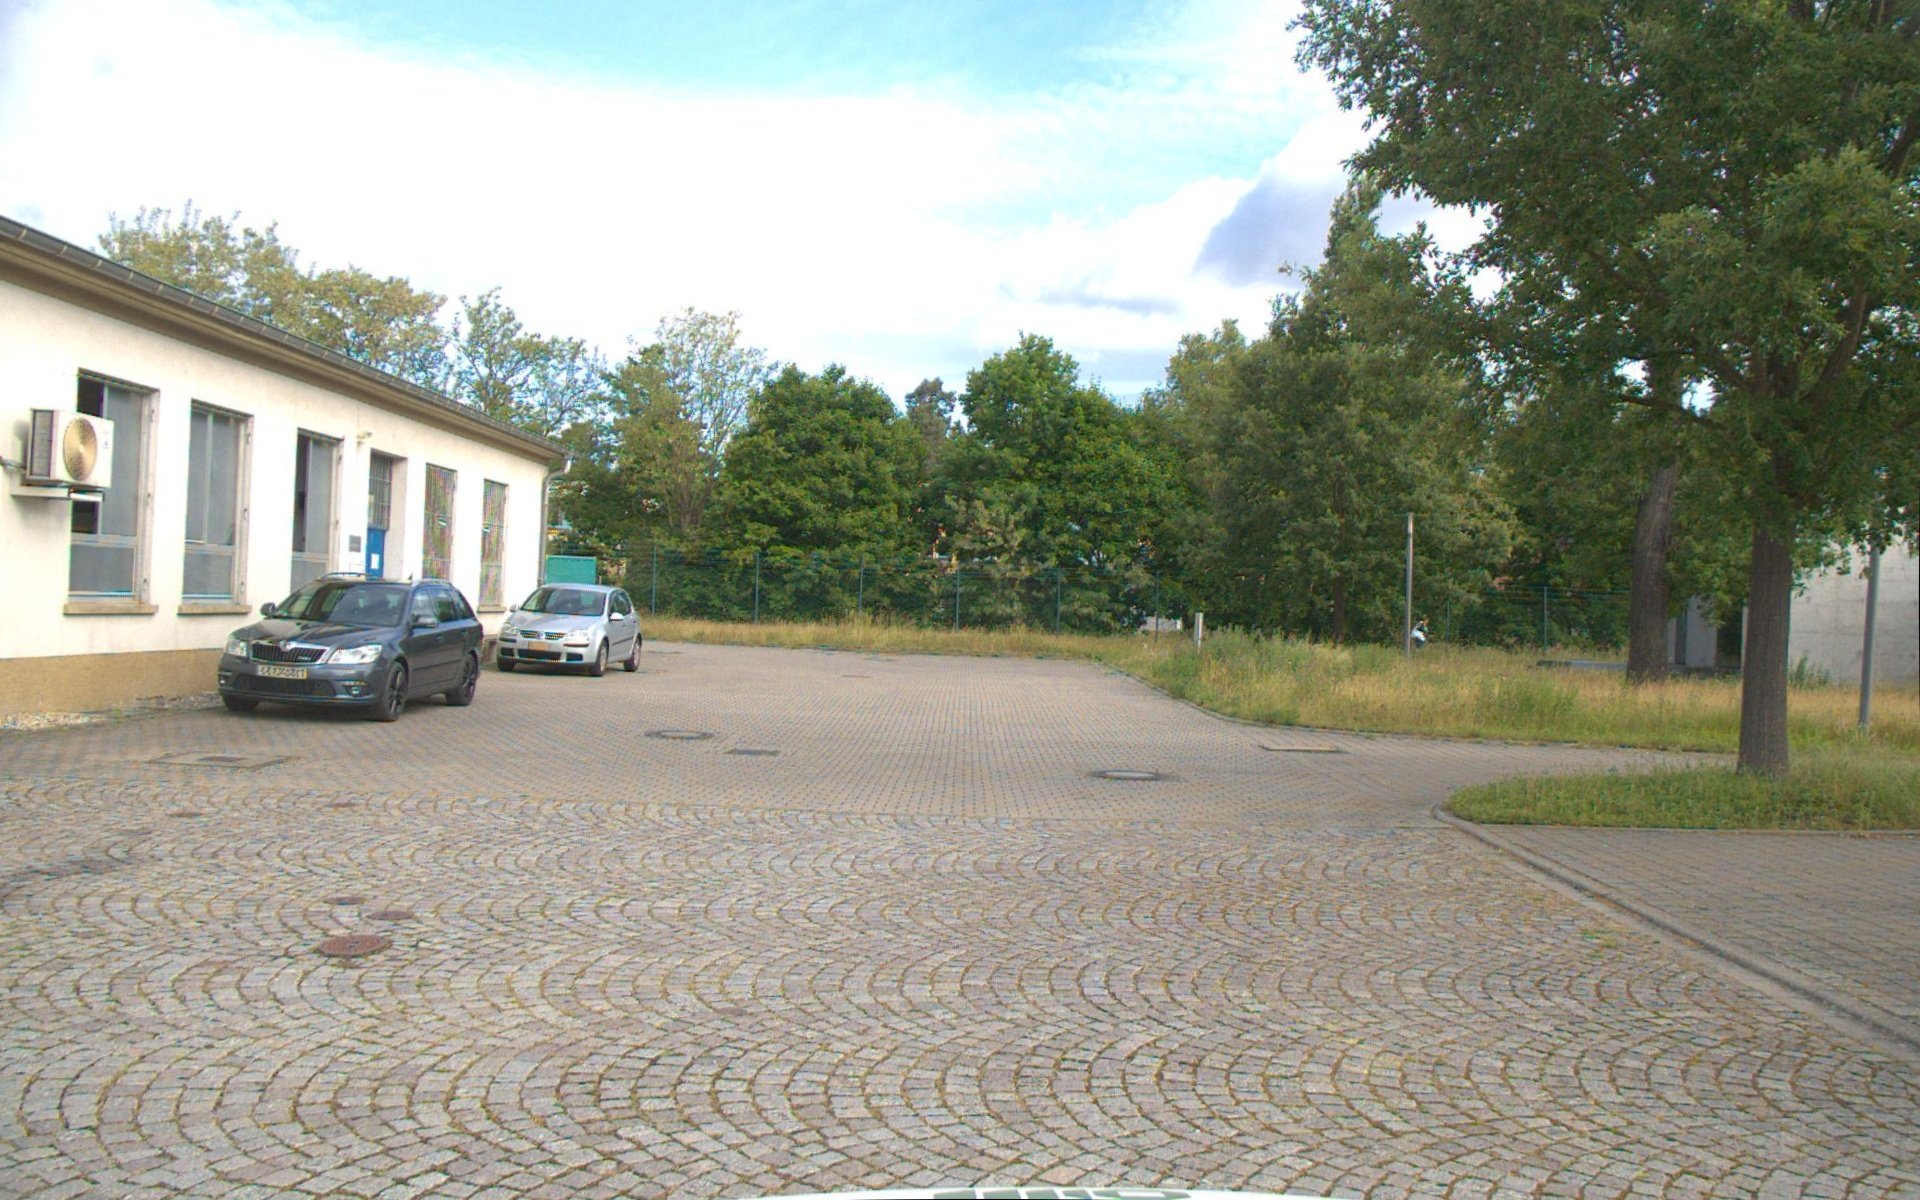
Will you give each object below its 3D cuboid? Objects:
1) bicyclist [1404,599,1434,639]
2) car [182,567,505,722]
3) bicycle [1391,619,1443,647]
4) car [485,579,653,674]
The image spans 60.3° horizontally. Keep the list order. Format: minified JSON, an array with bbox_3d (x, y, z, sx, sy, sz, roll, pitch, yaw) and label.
[{"bbox_3d":[14.665,0.610,52.855,0.754,1.227,0.588,2,0,0],"label":"bicyclist"},{"bbox_3d":[-6.743,0.438,18.735,1.885,1.464,4.810,2,0,-1],"label":"car"},{"bbox_3d":[14.600,1.049,52.842,1.486,0.805,0.588,2,0,0],"label":"bicycle"},{"bbox_3d":[-6.641,0.423,28.569,1.885,1.464,4.367,2,0,-1],"label":"car"}]
